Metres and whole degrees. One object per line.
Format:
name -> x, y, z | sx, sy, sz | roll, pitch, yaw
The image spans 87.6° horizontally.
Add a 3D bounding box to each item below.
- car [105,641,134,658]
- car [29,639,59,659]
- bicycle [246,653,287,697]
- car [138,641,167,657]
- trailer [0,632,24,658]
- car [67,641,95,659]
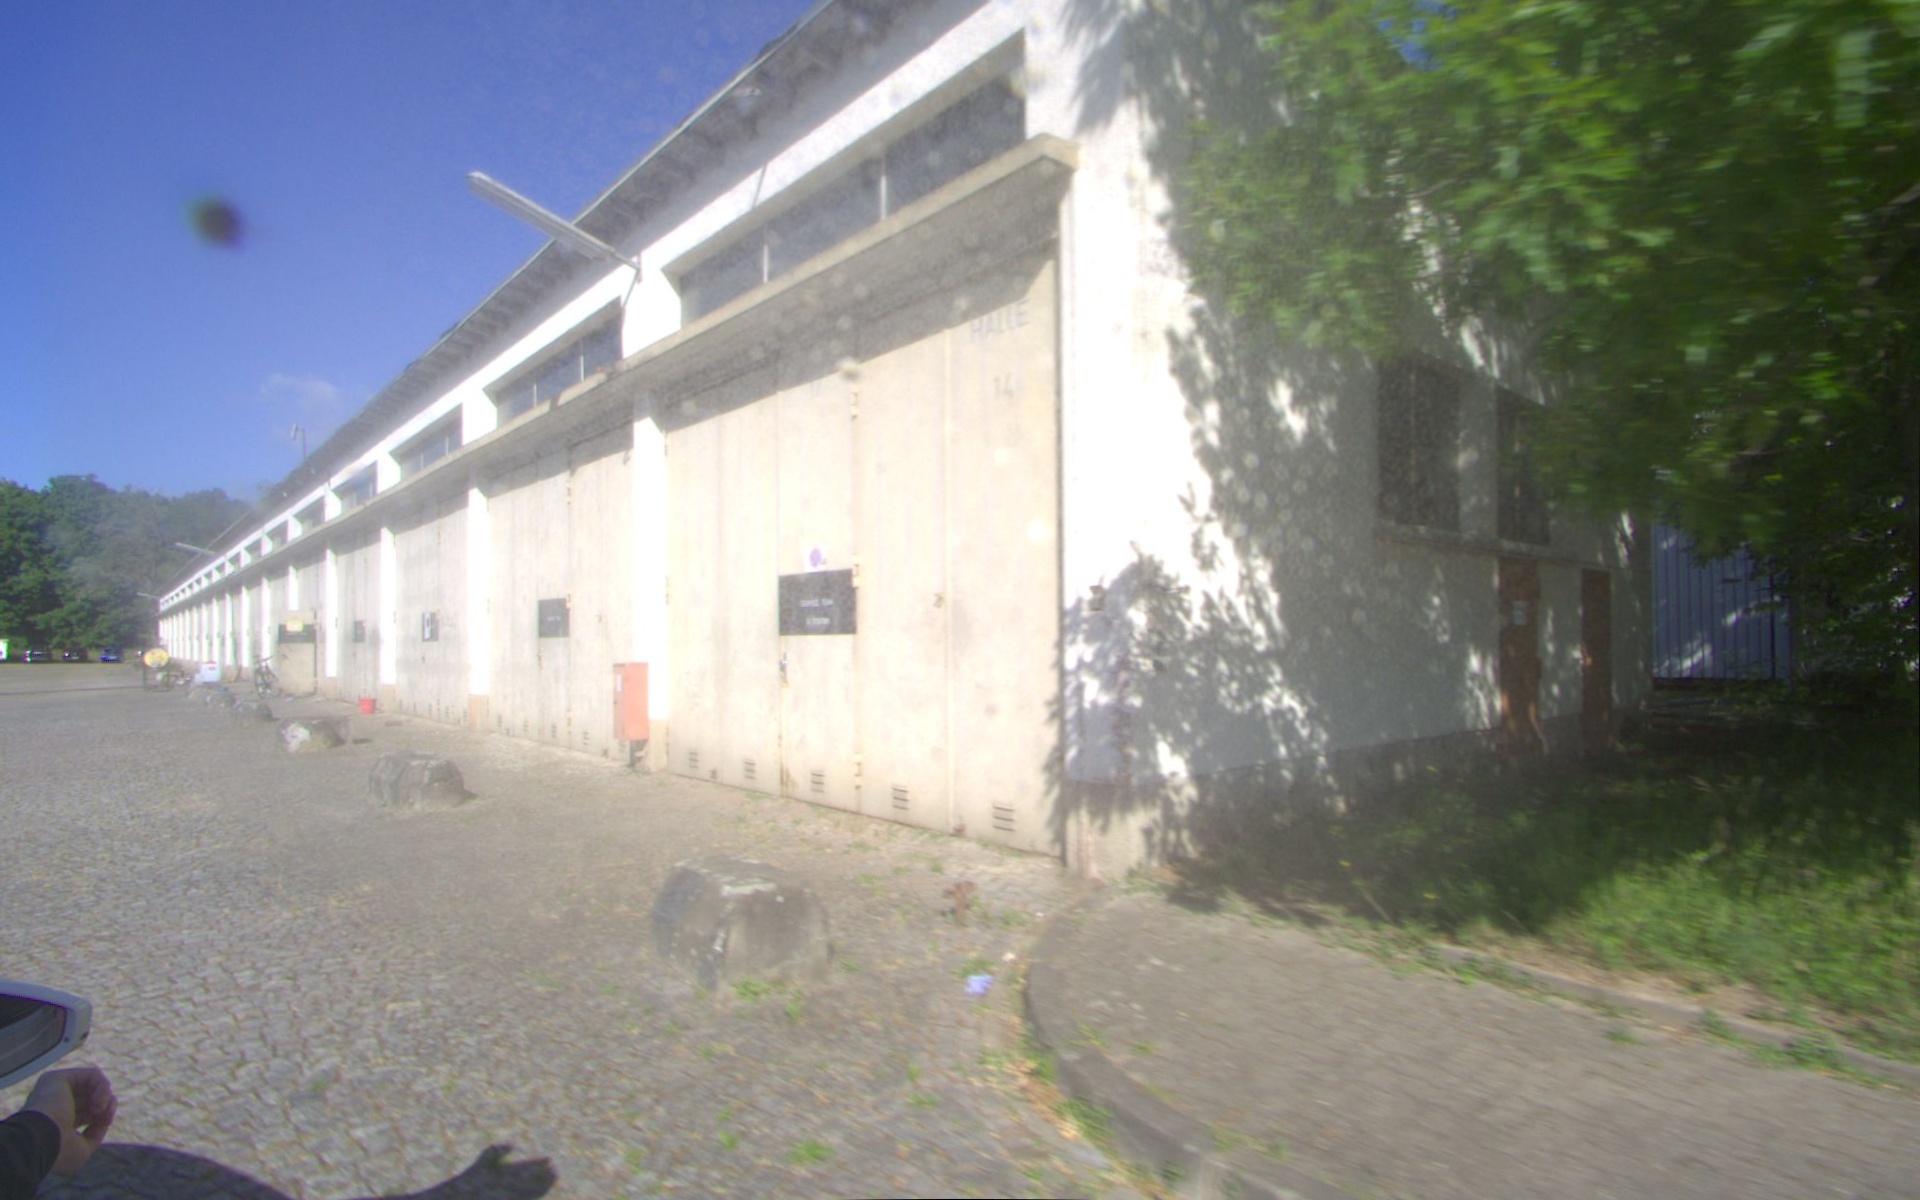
car -> -78.616, 4.659, 93.717 | 1.729, 1.455, 4.153 | 3, -2, -36
car -> -82.326, 4.397, 90.029 | 1.851, 1.609, 4.257 | 3, -2, -41
bicycle -> -17.923, 1.923, 25.902 | 0.657, 1.081, 1.816 | 1, -3, -29
car -> -77.703, 4.708, 96.390 | 1.728, 1.455, 4.156 | 3, -2, -34
trailer -> -85.874, 4.040, 90.042 | 2.178, 2.121, 5.699 | 3, -2, -41
car -> -80.714, 4.584, 91.942 | 1.851, 1.489, 4.257 | 3, -2, -41
